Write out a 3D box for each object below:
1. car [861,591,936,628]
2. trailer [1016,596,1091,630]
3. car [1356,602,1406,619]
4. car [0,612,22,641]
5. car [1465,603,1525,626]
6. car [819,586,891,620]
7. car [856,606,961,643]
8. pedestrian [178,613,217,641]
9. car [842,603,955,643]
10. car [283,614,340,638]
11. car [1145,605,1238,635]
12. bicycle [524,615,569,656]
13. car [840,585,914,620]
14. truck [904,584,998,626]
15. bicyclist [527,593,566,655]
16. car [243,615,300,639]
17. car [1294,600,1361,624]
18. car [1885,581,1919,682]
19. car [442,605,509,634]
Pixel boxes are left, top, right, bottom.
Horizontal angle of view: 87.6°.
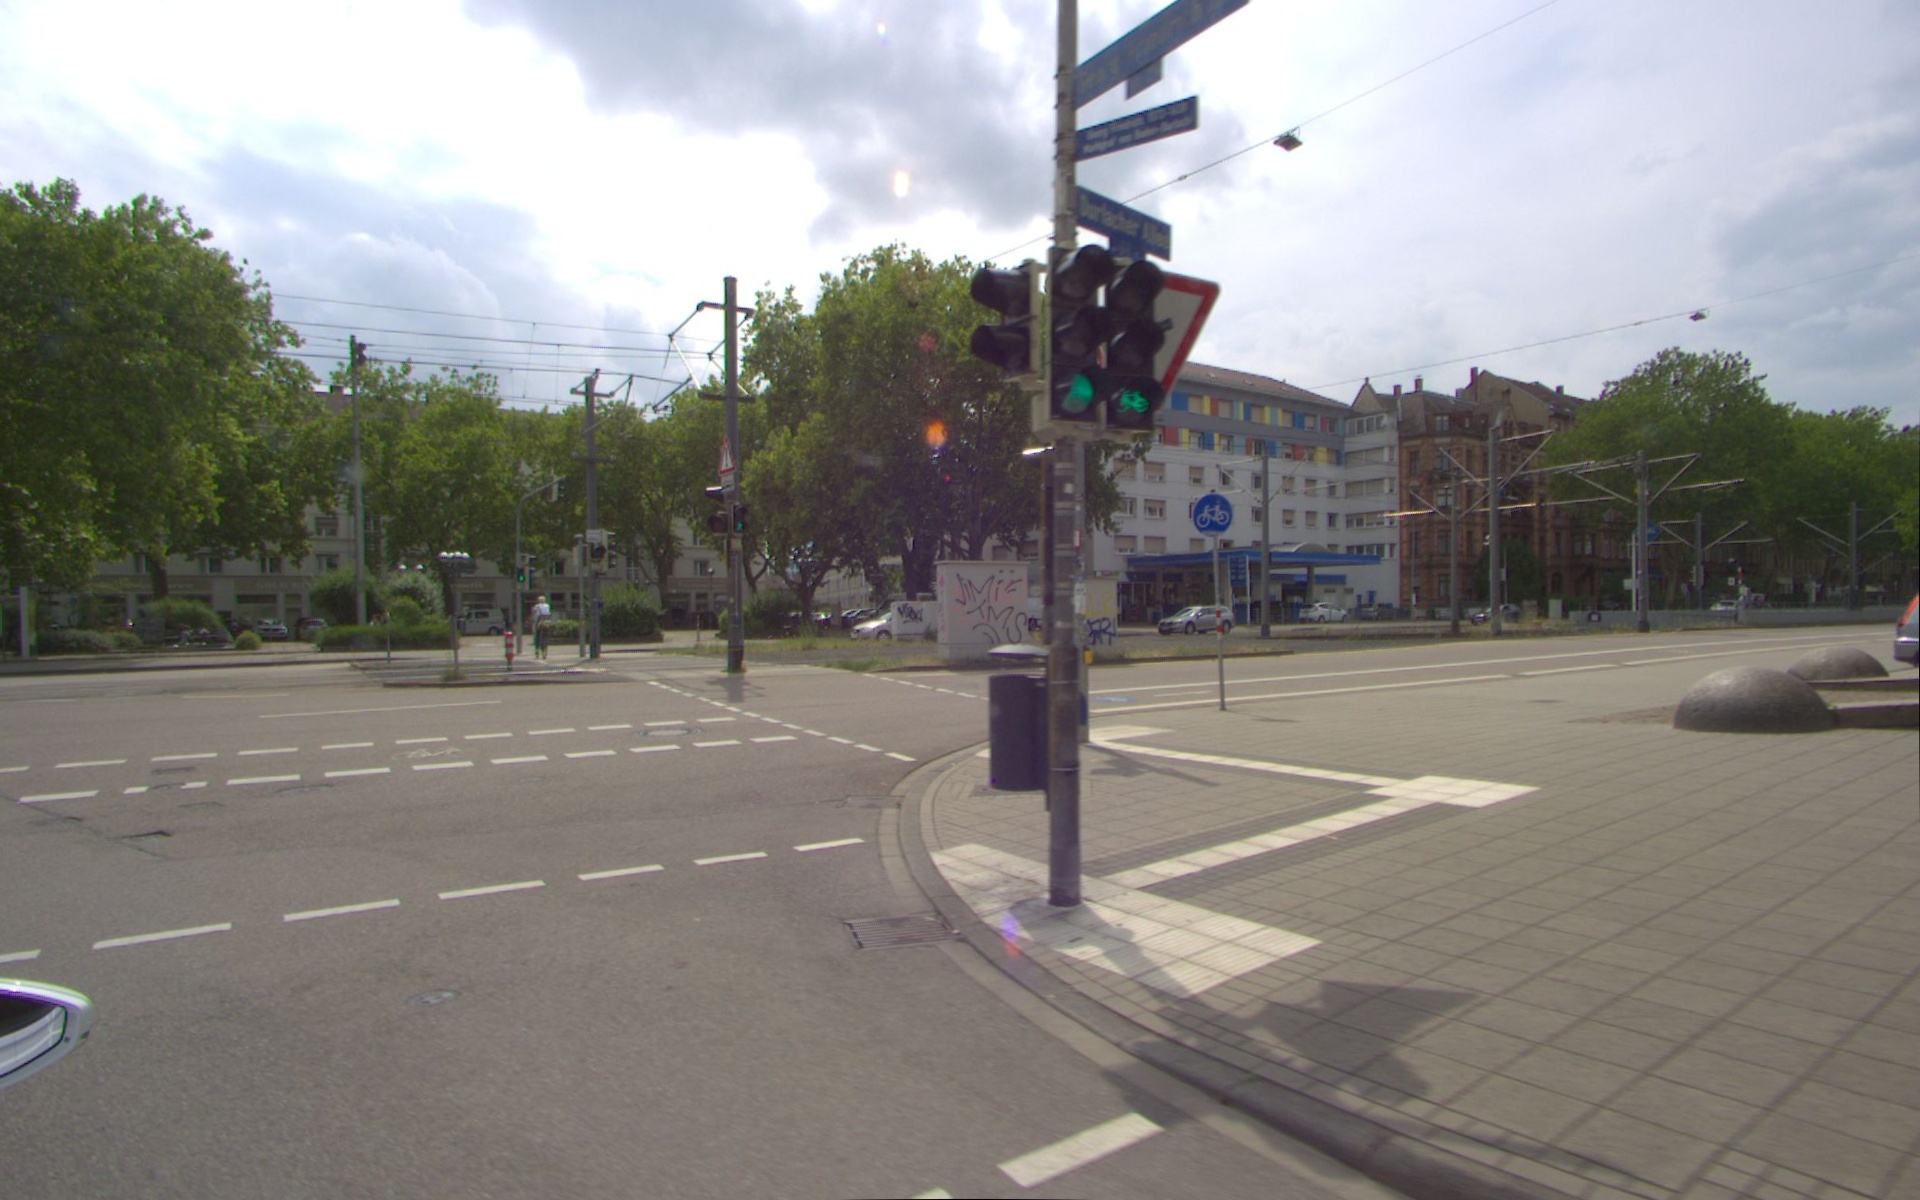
[{"bbox_3d":[-4.543,0.668,74.303,5.270,2.618,2.165,0,-1,-37],"label":"car"},{"bbox_3d":[5.677,0.764,60.459,4.378,1.951,1.842,-1,0,-34],"label":"trailer"},{"bbox_3d":[35.890,0.870,85.347,4.411,1.433,1.748,0,0,-34],"label":"car"},{"bbox_3d":[-57.223,1.570,59.258,3.948,1.706,1.798,-1,0,36],"label":"car"},{"bbox_3d":[35.717,0.959,66.850,3.943,1.418,1.751,-1,-1,-30],"label":"car"},{"bbox_3d":[-8.411,0.213,80.529,5.270,2.618,2.481,0,-1,-37],"label":"car"},{"bbox_3d":[-2.131,1.009,41.925,4.021,1.433,1.751,-1,-1,-30],"label":"car"},{"bbox_3d":[-36.742,1.298,48.237,1.422,1.253,1.087,-1,2,36],"label":"pedestrian"},{"bbox_3d":[-2.293,0.866,37.686,3.943,1.418,1.617,-1,-1,-31],"label":"car"},{"bbox_3d":[-44.376,1.768,68.498,3.948,1.539,1.987,-1,0,36],"label":"car"},{"bbox_3d":[11.888,0.999,51.265,4.732,1.418,1.751,-1,-1,-31],"label":"car"},{"bbox_3d":[-11.557,0.972,27.960,0.893,1.089,1.959,-1,0,-30],"label":"bicycle"},{"bbox_3d":[-6.473,0.207,78.333,5.270,2.618,2.481,0,-1,-37],"label":"car"},{"bbox_3d":[-0.682,0.338,65.493,3.041,2.612,6.466,-1,0,-35],"label":"truck"},{"bbox_3d":[-11.548,0.663,27.943,0.894,1.706,0.752,-1,1,-32],"label":"bicyclist"},{"bbox_3d":[-45.960,1.780,66.842,3.948,1.523,1.987,-1,0,36],"label":"car"},{"bbox_3d":[25.175,0.804,68.560,4.555,1.535,1.985,0,-1,-32],"label":"car"},{"bbox_3d":[16.515,0.465,14.688,1.992,1.563,4.001,-1,0,-34],"label":"car"},{"bbox_3d":[-33.425,1.313,69.085,3.947,1.908,1.845,-1,0,-34],"label":"car"}]
